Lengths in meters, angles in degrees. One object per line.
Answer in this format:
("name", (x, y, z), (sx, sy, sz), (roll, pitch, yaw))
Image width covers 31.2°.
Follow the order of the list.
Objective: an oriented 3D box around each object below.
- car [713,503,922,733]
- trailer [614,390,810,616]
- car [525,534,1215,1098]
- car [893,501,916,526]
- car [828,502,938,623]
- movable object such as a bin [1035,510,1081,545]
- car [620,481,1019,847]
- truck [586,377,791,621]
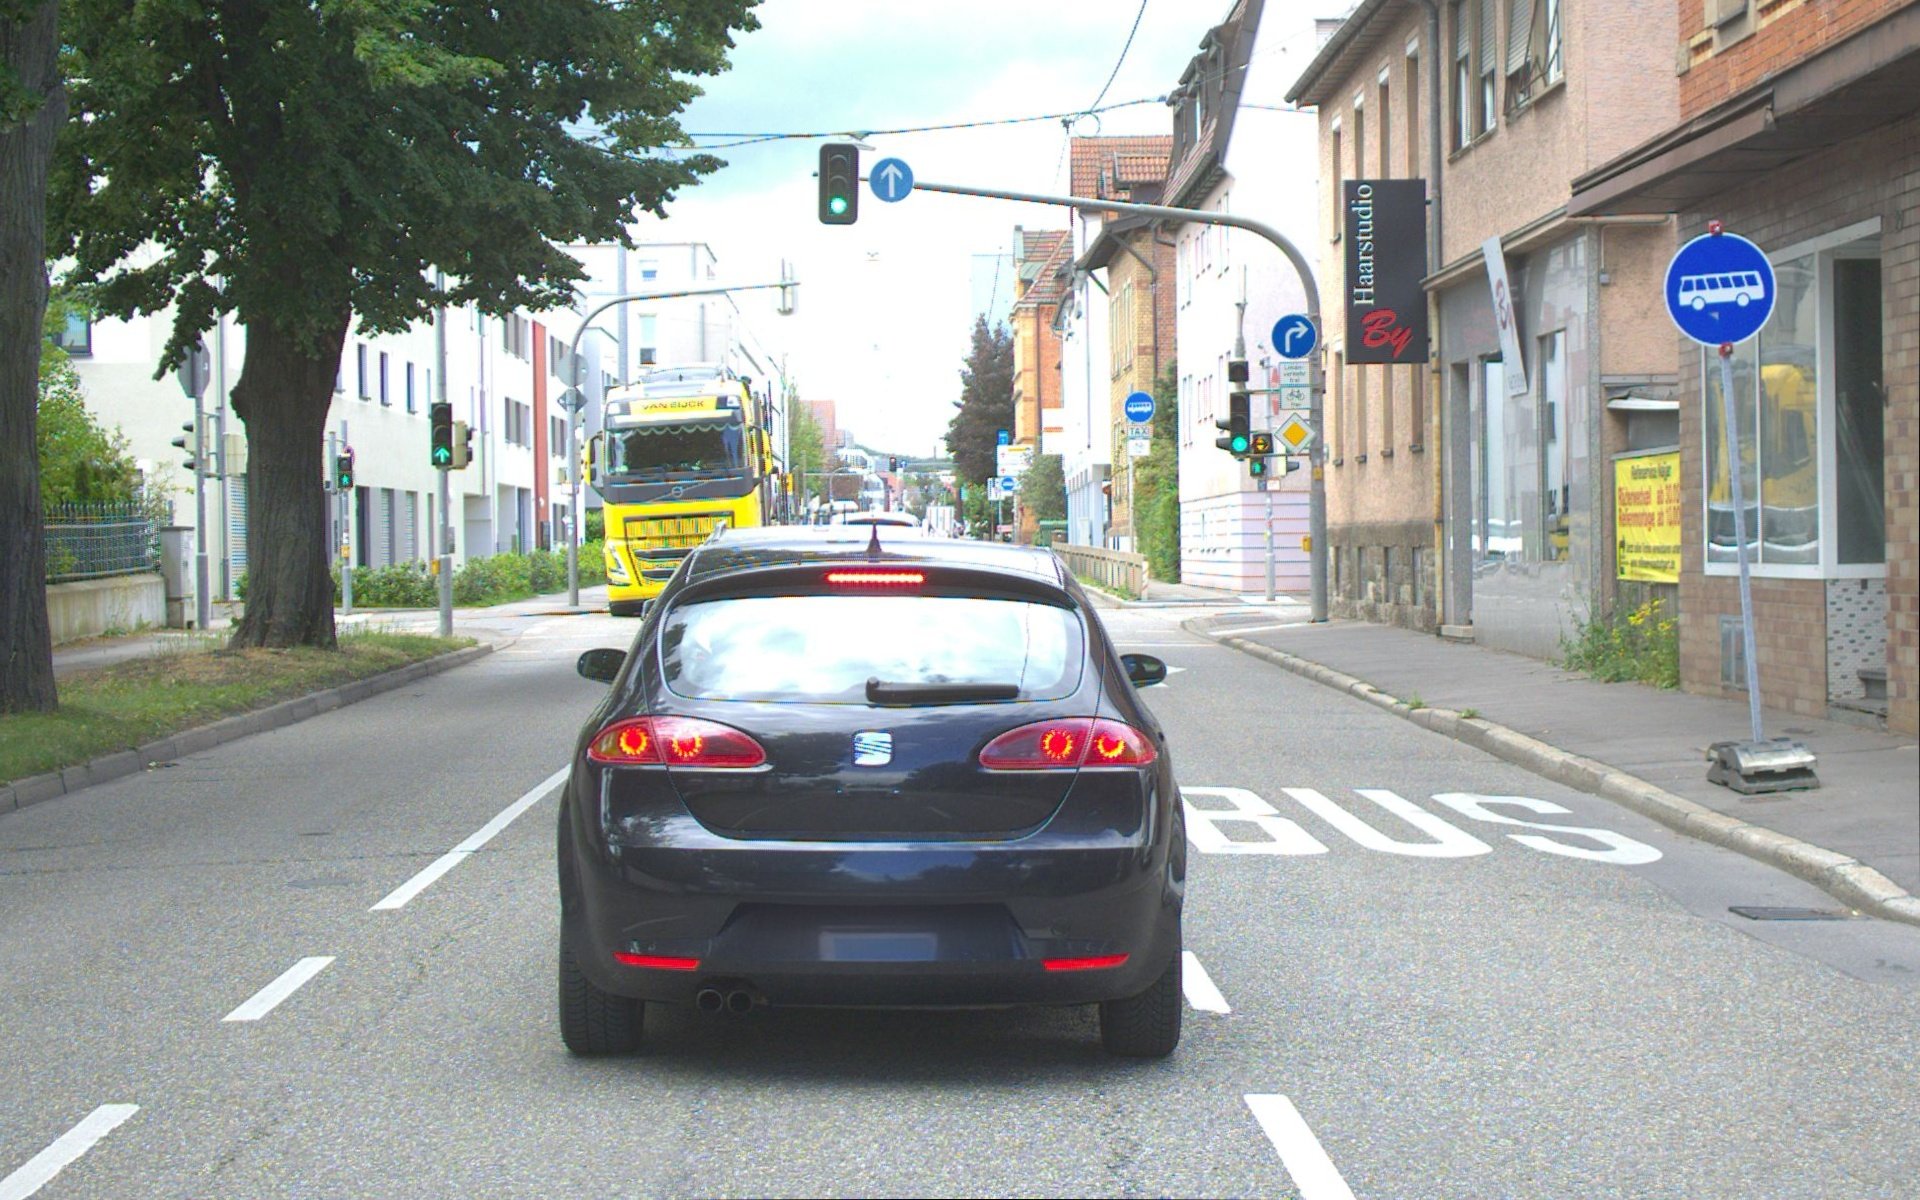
("car", (-1.093, 0.100, 27.234), (1.531, 1.687, 3.693), (0, 1, -1))
("trailer", (-4.499, -1.757, 65.285), (2.858, 3.795, 14.392), (0, 1, -1))
("car", (-0.263, 0.522, 10.807), (1.759, 1.437, 4.000), (0, 1, -1))
("car", (-3.745, -5.843, 232.652), (1.531, 1.687, 3.693), (-1, 1, -1))
("car", (-1.118, -0.552, 50.082), (1.531, 1.687, 3.693), (0, 1, -1))
("movable object such as a bin", (4.074, -3.027, 143.080), (1.818, 1.432, 1.993), (0, 1, 0))
("car", (-0.699, 0.264, 17.970), (1.842, 1.687, 4.000), (0, 1, -1))
("truck", (-4.409, -1.632, 57.231), (2.843, 3.769, 7.670), (0, 1, 0))
